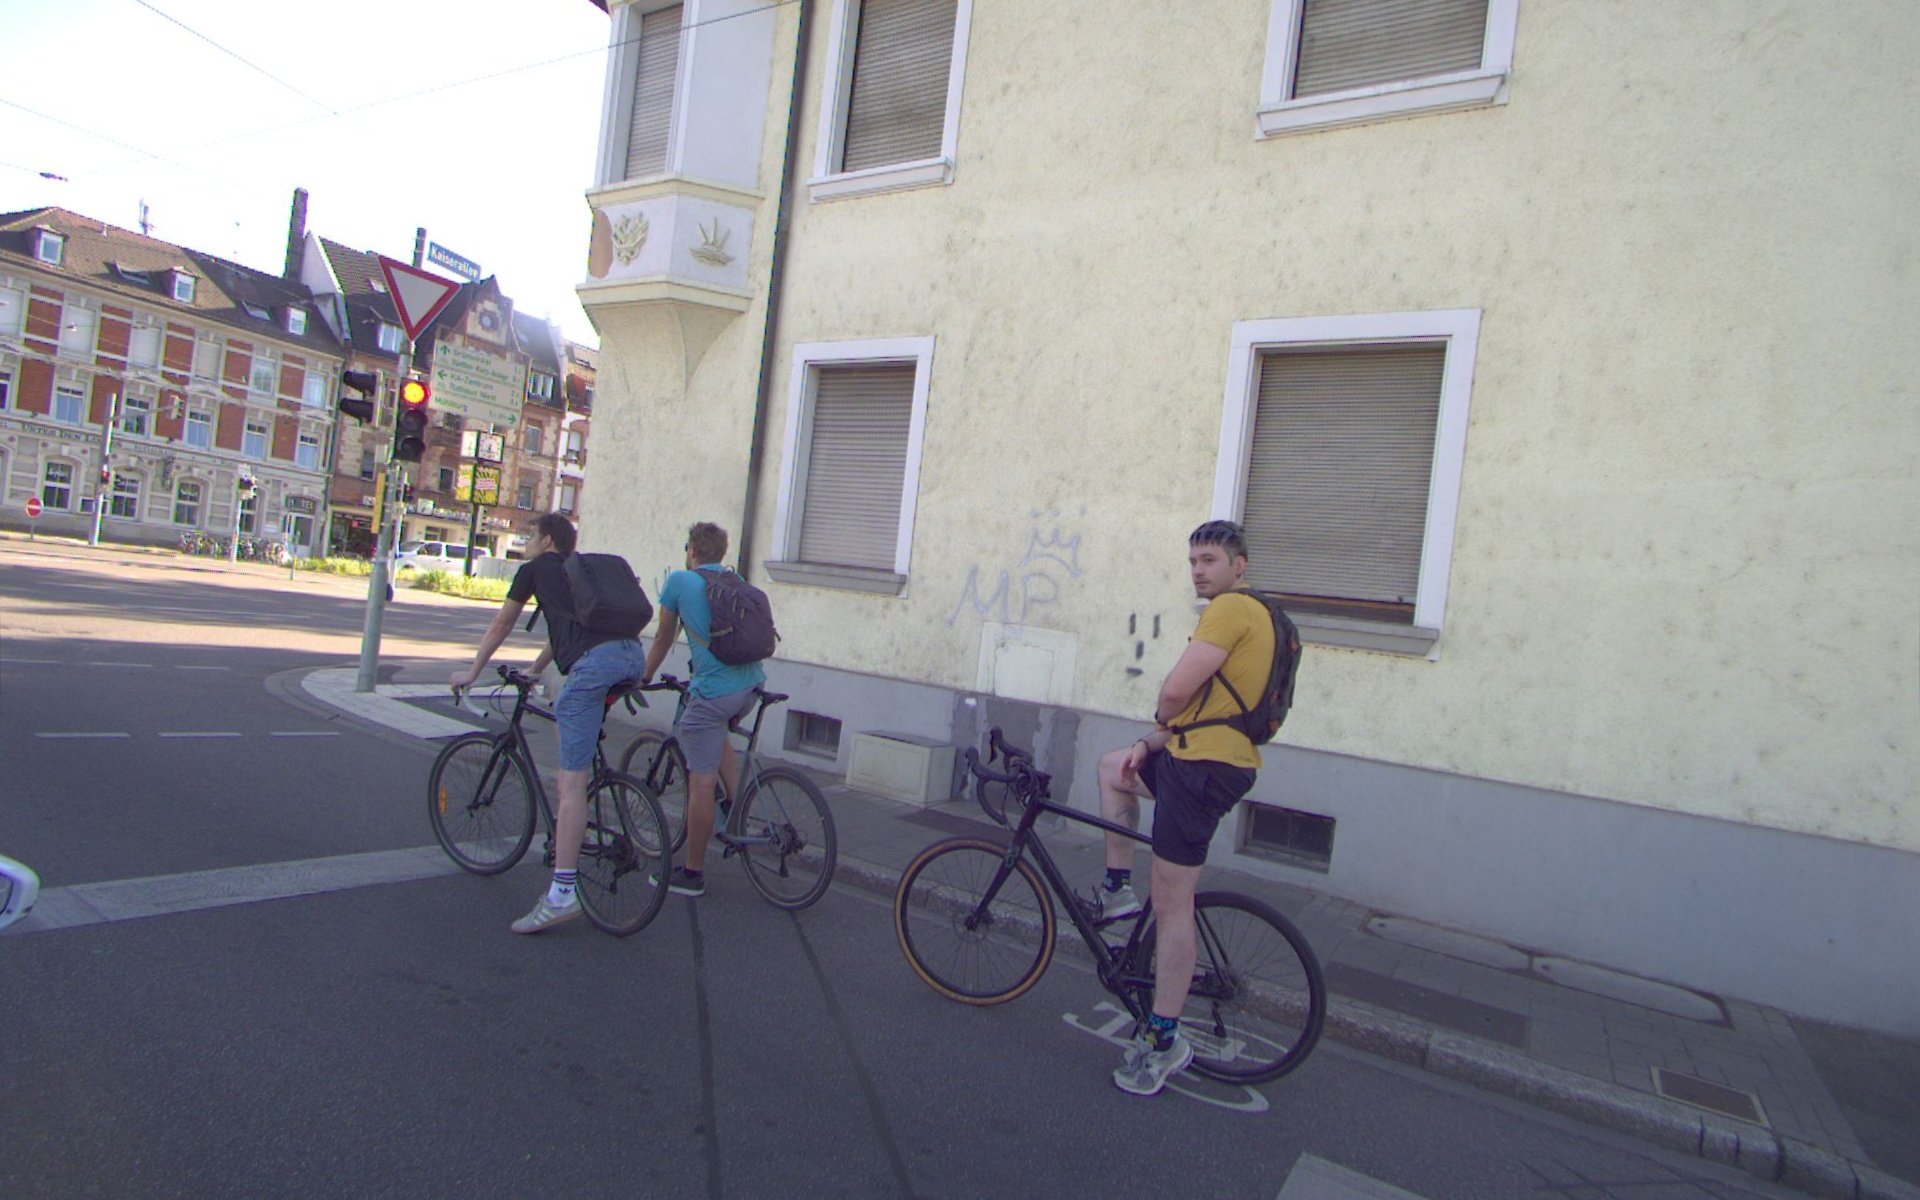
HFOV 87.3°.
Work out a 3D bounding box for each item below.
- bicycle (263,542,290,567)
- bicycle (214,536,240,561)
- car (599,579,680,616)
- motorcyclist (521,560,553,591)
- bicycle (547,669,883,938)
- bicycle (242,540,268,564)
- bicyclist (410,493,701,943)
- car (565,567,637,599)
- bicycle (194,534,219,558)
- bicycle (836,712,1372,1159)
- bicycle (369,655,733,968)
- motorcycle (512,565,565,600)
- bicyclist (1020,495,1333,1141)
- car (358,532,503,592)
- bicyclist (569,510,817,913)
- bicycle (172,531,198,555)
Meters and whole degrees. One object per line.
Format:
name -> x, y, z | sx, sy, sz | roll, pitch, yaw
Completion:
bicycle -> -33.001, -2.205, 48.579 | 0.789, 1.027, 2.186 | 8, -2, -39
bicycle -> -34.256, -2.420, 47.017 | 0.762, 0.995, 2.186 | 8, -2, -39
car -> -16.877, -0.109, 53.183 | 1.569, 1.443, 3.876 | 7, -1, 32
motorcyclist -> -20.389, -1.197, 48.523 | 0.777, 1.315, 1.015 | 6, -2, 36
bicycle -> -1.311, 0.977, 5.216 | 1.753, 0.995, 0.504 | 6, -1, 32
bicycle -> -33.587, -2.307, 47.938 | 0.762, 1.019, 2.196 | 8, -2, -39
bicyclist -> -1.820, 0.474, 4.536 | 0.920, 1.787, 0.590 | 6, -1, 32
car -> -23.187, -1.102, 65.072 | 1.842, 1.454, 3.985 | 6, -2, 35
bicycle -> -34.753, -2.510, 46.395 | 0.762, 0.979, 2.186 | 8, -2, -39
bicycle -> 0.539, 1.126, 3.805 | 1.709, 1.119, 0.783 | 7, -1, 18
bicycle -> -1.895, 0.865, 4.549 | 1.753, 1.003, 0.482 | 6, -1, 32
motorcycle -> -20.354, -0.837, 48.625 | 0.784, 1.349, 2.137 | 6, -2, 36
bicyclist -> 0.810, 0.702, 3.670 | 0.763, 1.990, 0.783 | 7, 0, 18
car -> -23.174, -1.615, 44.280 | 1.968, 1.876, 5.204 | 7, -1, 34
bicyclist -> -1.386, 0.528, 5.208 | 0.960, 1.868, 0.504 | 6, -1, 32
bicycle -> -35.355, -2.611, 45.870 | 0.762, 0.974, 2.186 | 8, -2, -39
